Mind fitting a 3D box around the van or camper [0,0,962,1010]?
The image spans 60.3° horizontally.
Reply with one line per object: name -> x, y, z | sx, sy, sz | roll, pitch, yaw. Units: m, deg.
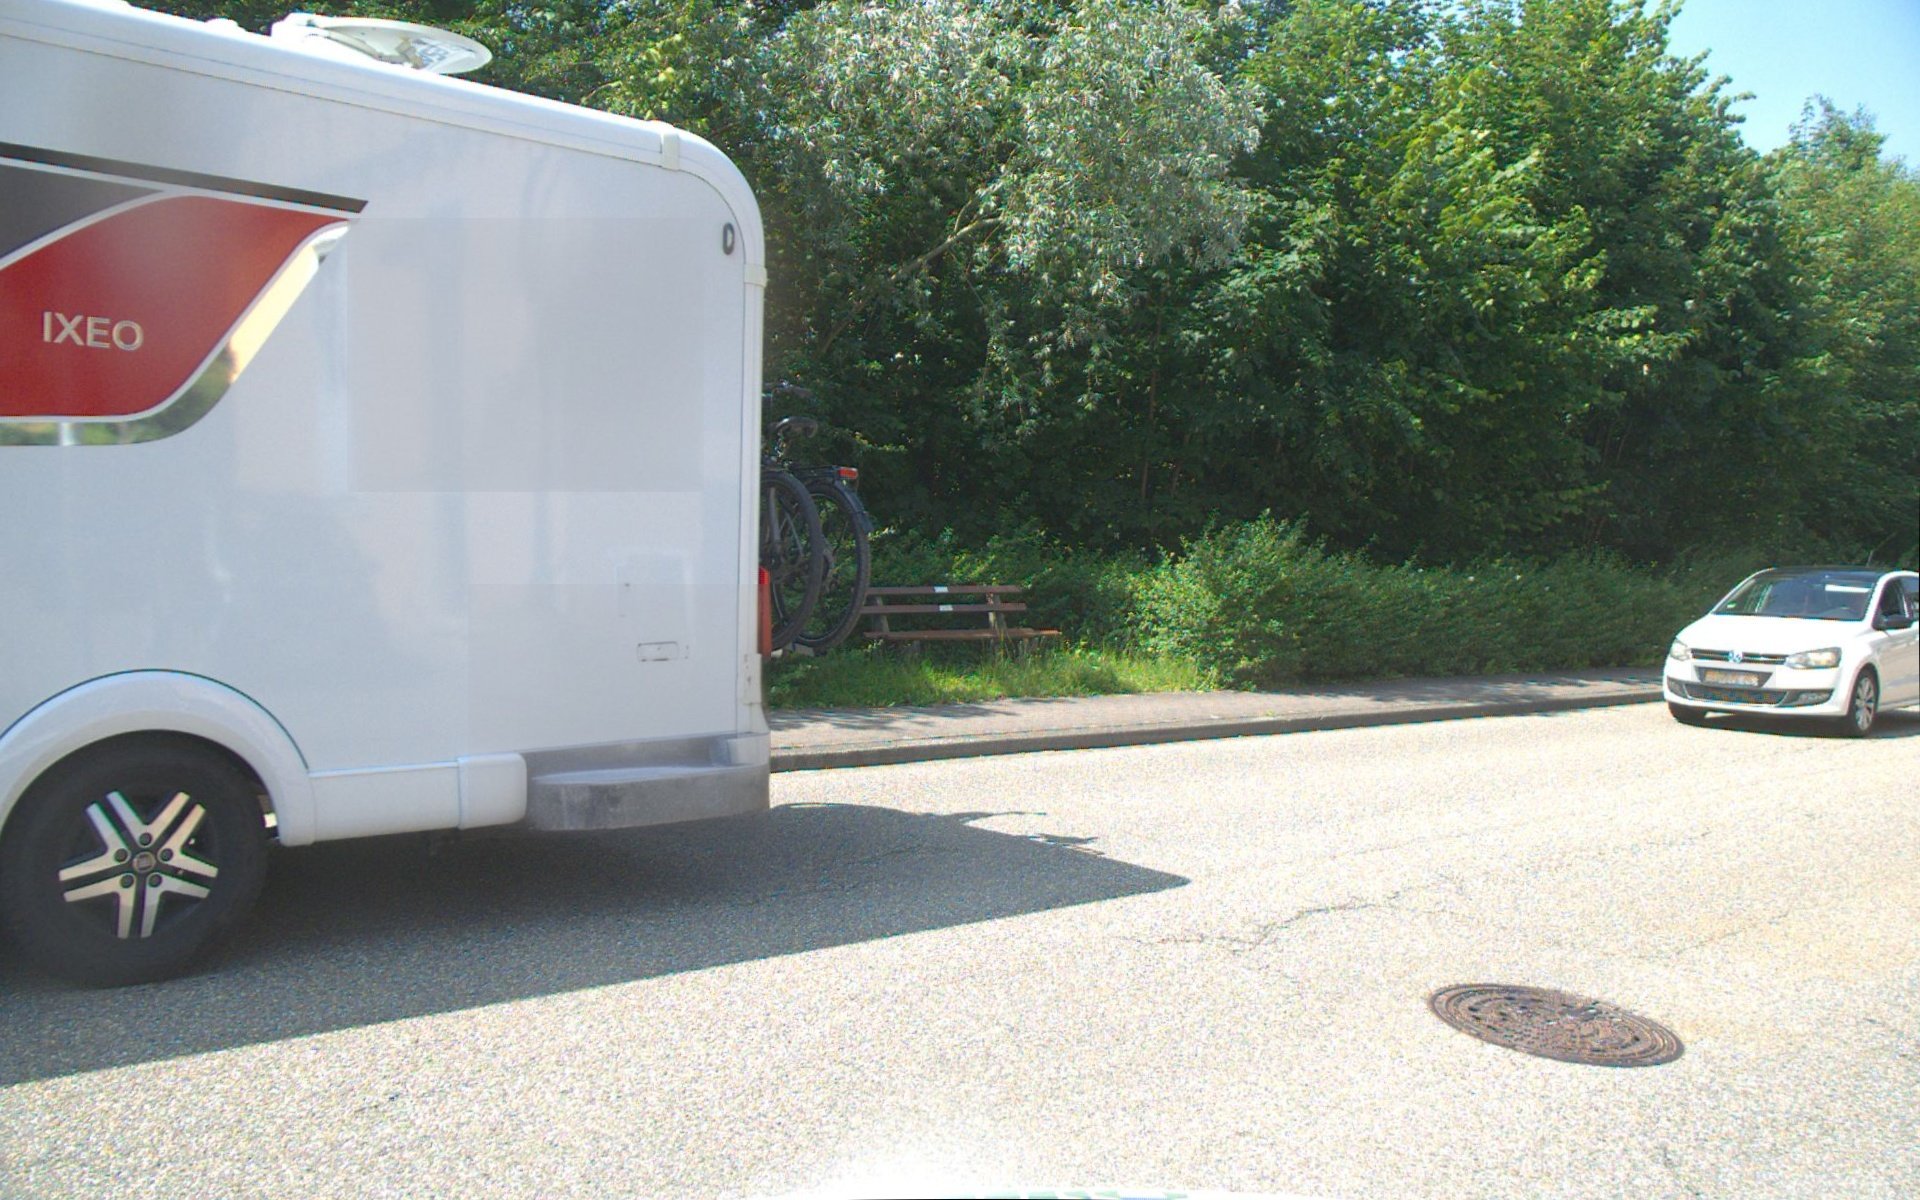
van or camper -> -3.747, -0.472, 4.784 | 7.982, 3.004, 2.330 | 0, 3, -42

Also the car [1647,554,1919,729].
car -> 8.085, 0.355, 15.499 | 3.795, 1.430, 1.585 | 1, 1, -43
